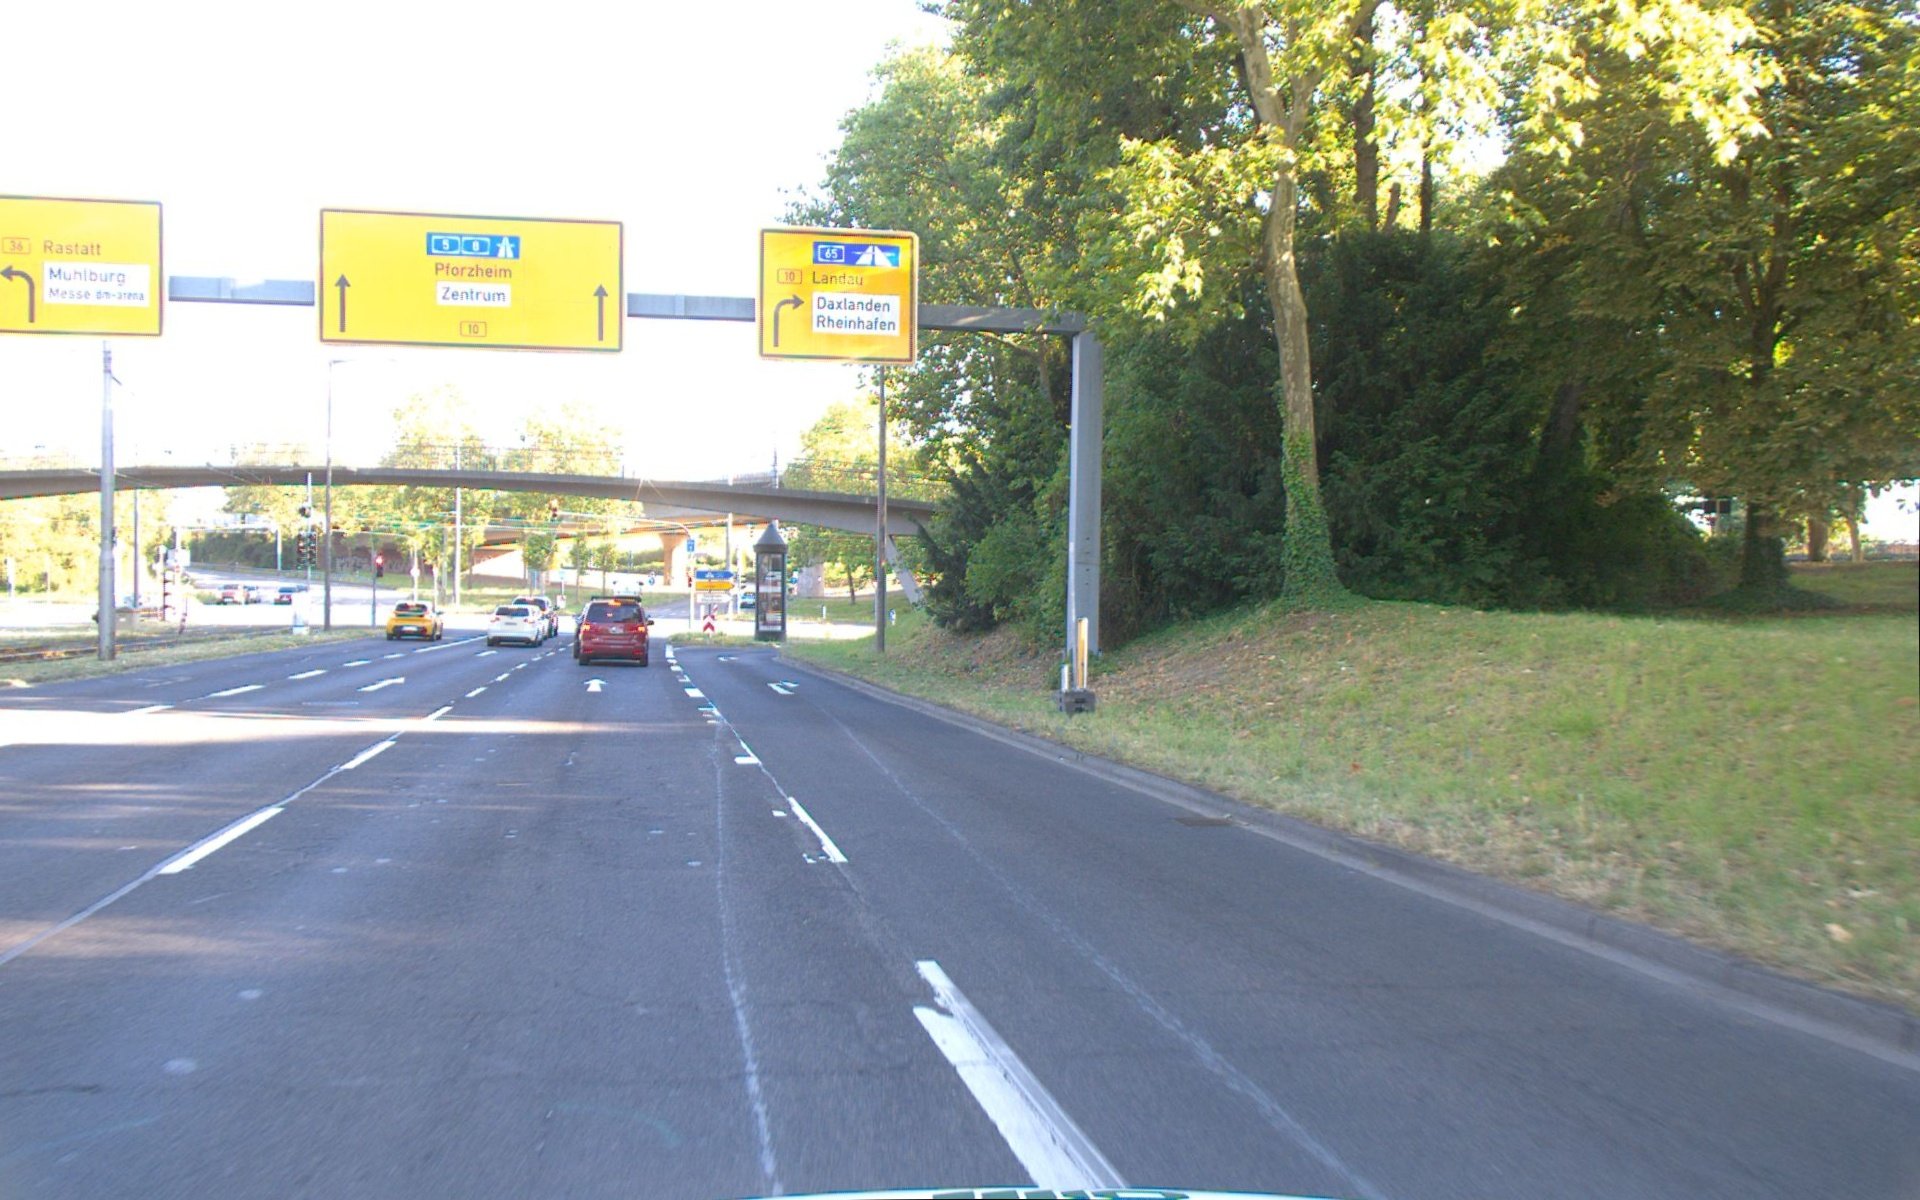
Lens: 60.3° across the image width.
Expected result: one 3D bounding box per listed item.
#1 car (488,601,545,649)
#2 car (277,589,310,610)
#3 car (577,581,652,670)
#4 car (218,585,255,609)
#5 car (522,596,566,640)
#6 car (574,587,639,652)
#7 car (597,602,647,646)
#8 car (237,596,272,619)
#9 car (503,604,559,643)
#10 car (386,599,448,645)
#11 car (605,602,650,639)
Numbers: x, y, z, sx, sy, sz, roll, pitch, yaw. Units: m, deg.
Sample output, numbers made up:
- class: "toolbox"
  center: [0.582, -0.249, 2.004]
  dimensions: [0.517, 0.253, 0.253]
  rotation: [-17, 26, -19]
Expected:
- class: "car"
  center: [-15.889, 0.870, 59.411]
  dimensions: [1.633, 1.592, 4.179]
  rotation: [-1, 1, -11]
- class: "car"
  center: [-53.341, -0.043, 132.377]
  dimensions: [1.846, 1.603, 3.663]
  rotation: [2, 0, -12]
- class: "car"
  center: [-8.871, 0.615, 42.585]
  dimensions: [1.760, 2.142, 3.989]
  rotation: [-1, 1, -11]
- class: "car"
  center: [-56.474, -0.216, 129.204]
  dimensions: [1.846, 1.803, 3.988]
  rotation: [2, 0, -12]
- class: "car"
  center: [-18.313, 0.751, 72.650]
  dimensions: [1.763, 1.823, 4.806]
  rotation: [-1, 1, -15]
- class: "car"
  center: [-10.366, 0.539, 48.705]
  dimensions: [1.760, 1.780, 4.230]
  rotation: [-1, 1, -11]
- class: "car"
  center: [-12.753, 0.882, 62.516]
  dimensions: [1.760, 1.507, 3.989]
  rotation: [-1, 1, -11]
- class: "car"
  center: [-58.133, 0.602, 136.344]
  dimensions: [1.846, 1.803, 3.988]
  rotation: [2, 0, -12]
- class: "car"
  center: [-17.127, 0.917, 66.220]
  dimensions: [1.709, 1.457, 4.402]
  rotation: [2, 0, -9]
- class: "car"
  center: [-20.220, 0.778, 61.712]
  dimensions: [1.633, 1.592, 3.989]
  rotation: [-1, 1, -11]
- class: "car"
  center: [-13.775, 0.829, 68.665]
  dimensions: [1.760, 1.407, 4.464]
  rotation: [-1, 1, -11]
